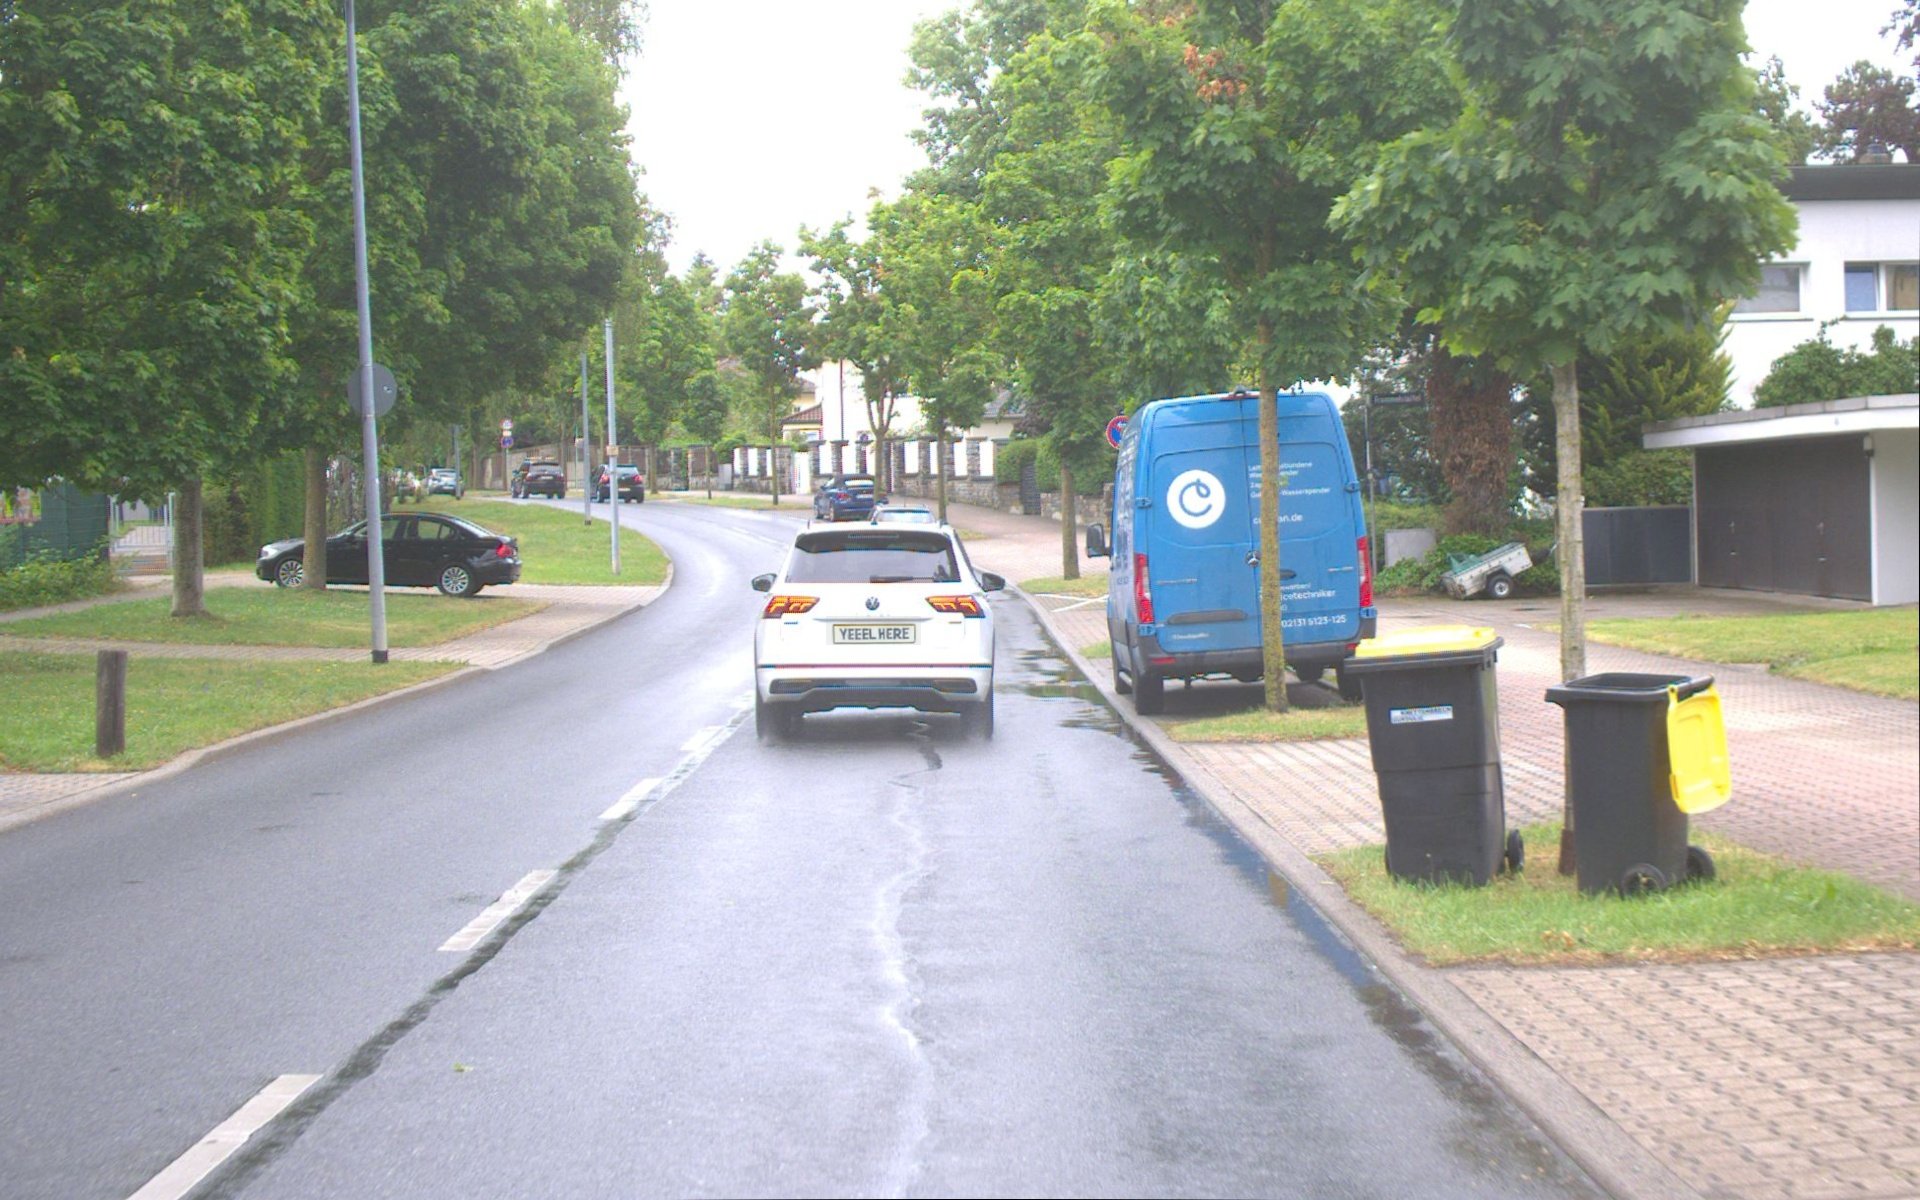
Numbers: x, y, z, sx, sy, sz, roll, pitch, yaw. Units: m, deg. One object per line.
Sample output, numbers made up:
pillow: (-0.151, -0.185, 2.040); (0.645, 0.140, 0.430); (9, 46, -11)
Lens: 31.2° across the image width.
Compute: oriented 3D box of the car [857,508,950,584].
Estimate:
car: (-1.232, -1.140, 72.828); (1.769, 1.546, 4.001); (-1, 1, -3)

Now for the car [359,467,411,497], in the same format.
car: (-28.231, -5.785, 168.679); (1.766, 1.422, 4.002); (0, 2, -20)

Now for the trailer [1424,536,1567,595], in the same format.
trailer: (8.285, -0.537, 53.306); (2.042, 0.880, 1.364); (0, 1, 3)

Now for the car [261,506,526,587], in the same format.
car: (-9.702, -0.929, 59.020); (4.219, 1.358, 1.690); (0, 1, 4)

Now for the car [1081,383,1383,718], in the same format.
car: (2.276, -0.467, 30.323); (1.993, 2.578, 5.634); (-3, 1, -1)

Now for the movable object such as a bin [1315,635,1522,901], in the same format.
movable object such as a bin: (1.888, 0.686, 14.131); (0.615, 1.011, 0.562); (-5, -1, 25)

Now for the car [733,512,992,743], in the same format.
car: (-0.731, 0.154, 27.330); (1.865, 1.645, 4.000); (-2, 1, 0)

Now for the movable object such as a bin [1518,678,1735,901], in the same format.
movable object such as a bin: (2.616, 0.738, 13.473); (0.660, 0.797, 0.600); (-4, 0, 25)

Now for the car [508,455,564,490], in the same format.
car: (-18.093, -5.440, 146.528); (1.642, 1.422, 4.002); (0, 2, -18)

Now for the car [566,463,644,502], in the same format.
car: (-13.556, -4.495, 131.056); (1.642, 1.422, 4.001); (-1, 3, -26)

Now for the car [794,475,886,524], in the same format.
car: (-3.670, -3.055, 104.408); (1.642, 1.422, 4.002); (0, 2, -20)
